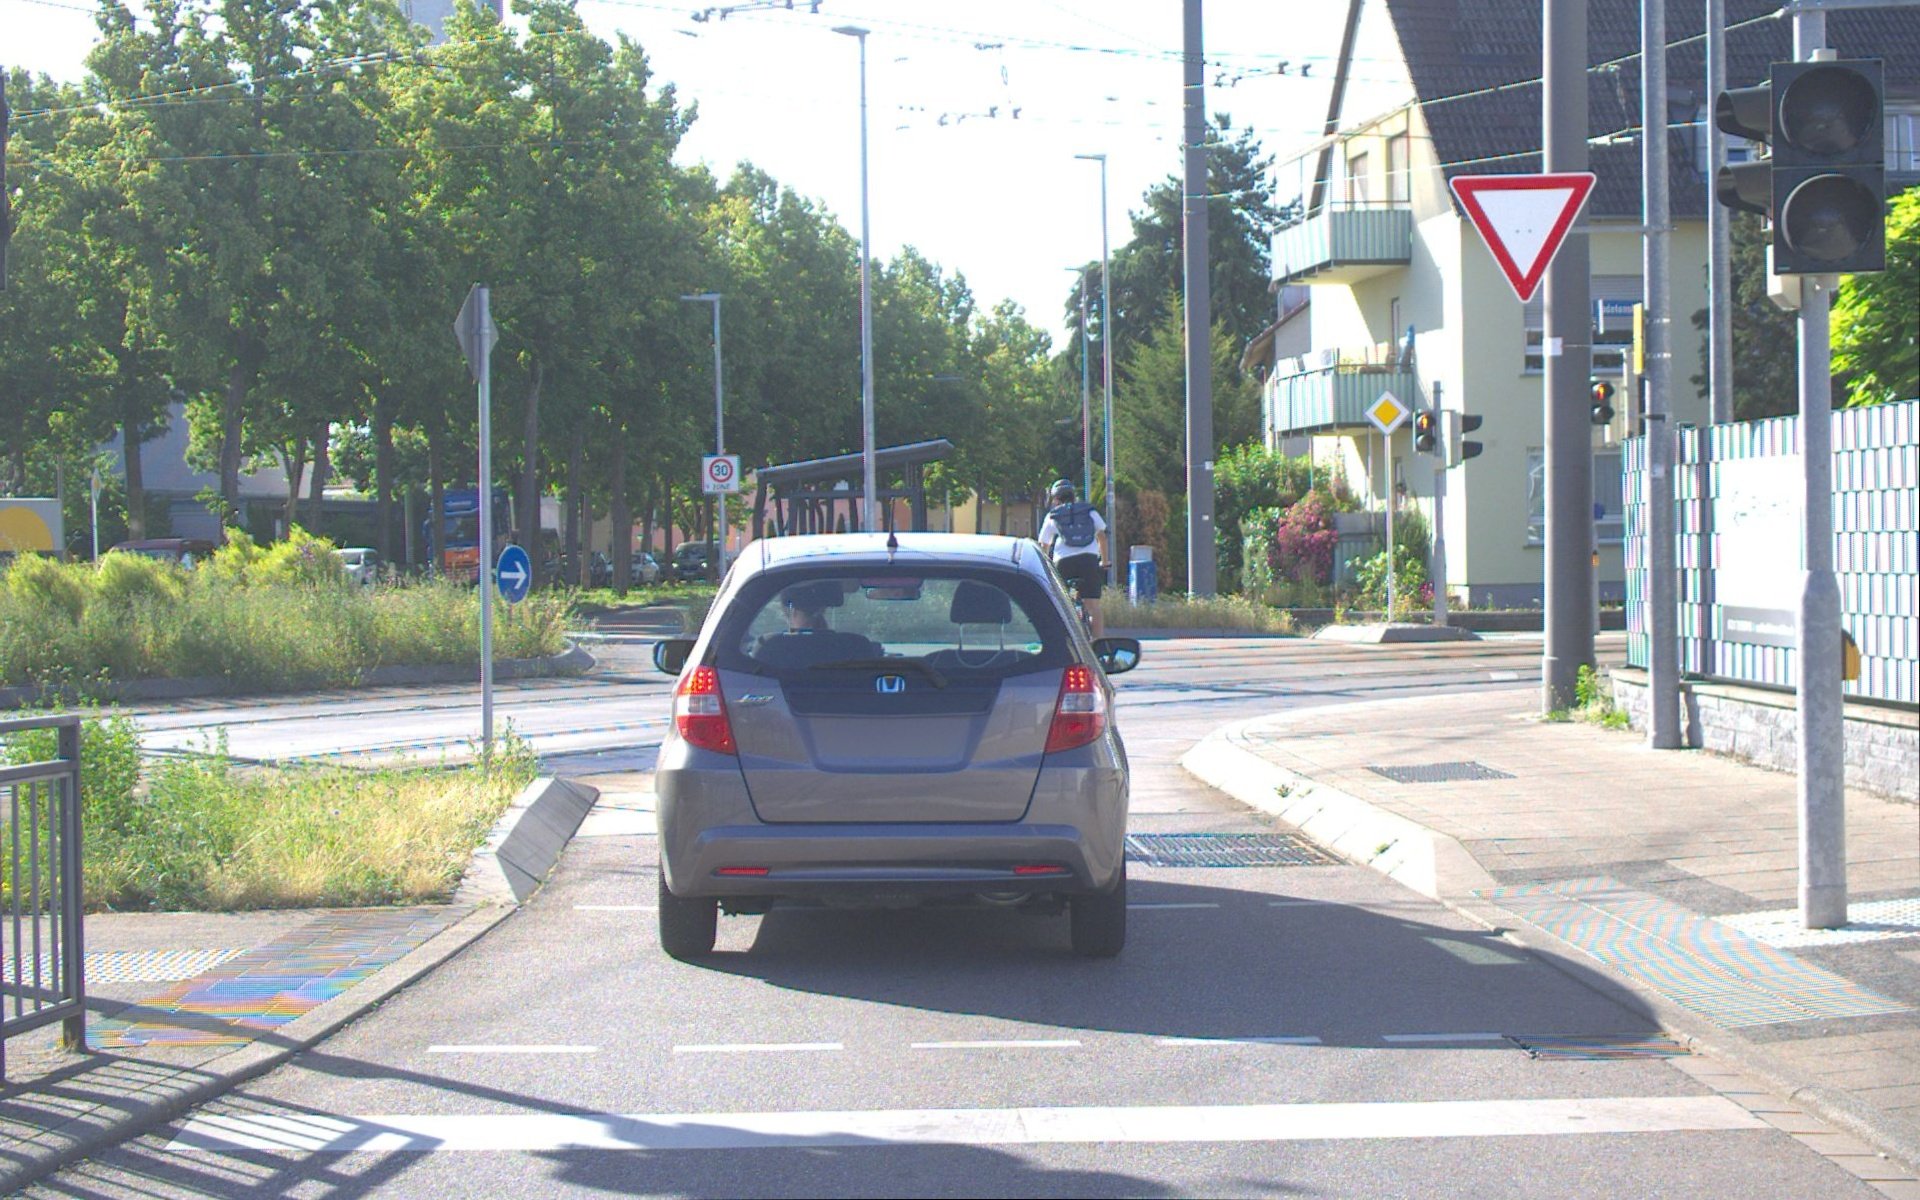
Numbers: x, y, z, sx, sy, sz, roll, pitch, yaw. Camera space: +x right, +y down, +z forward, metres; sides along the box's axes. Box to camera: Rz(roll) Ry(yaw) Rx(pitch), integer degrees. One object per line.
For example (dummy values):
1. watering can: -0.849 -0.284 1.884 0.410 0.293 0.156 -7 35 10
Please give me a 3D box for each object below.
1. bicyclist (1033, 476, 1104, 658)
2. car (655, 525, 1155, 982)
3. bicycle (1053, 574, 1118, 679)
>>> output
1. bicyclist: 1.024 -0.313 32.522 0.598 1.695 0.683 1 0 -2
2. car: -0.289 0.489 13.318 1.670 1.530 3.487 0 1 -4
3. bicycle: 1.172 0.240 32.334 0.475 0.958 1.657 1 0 -2
